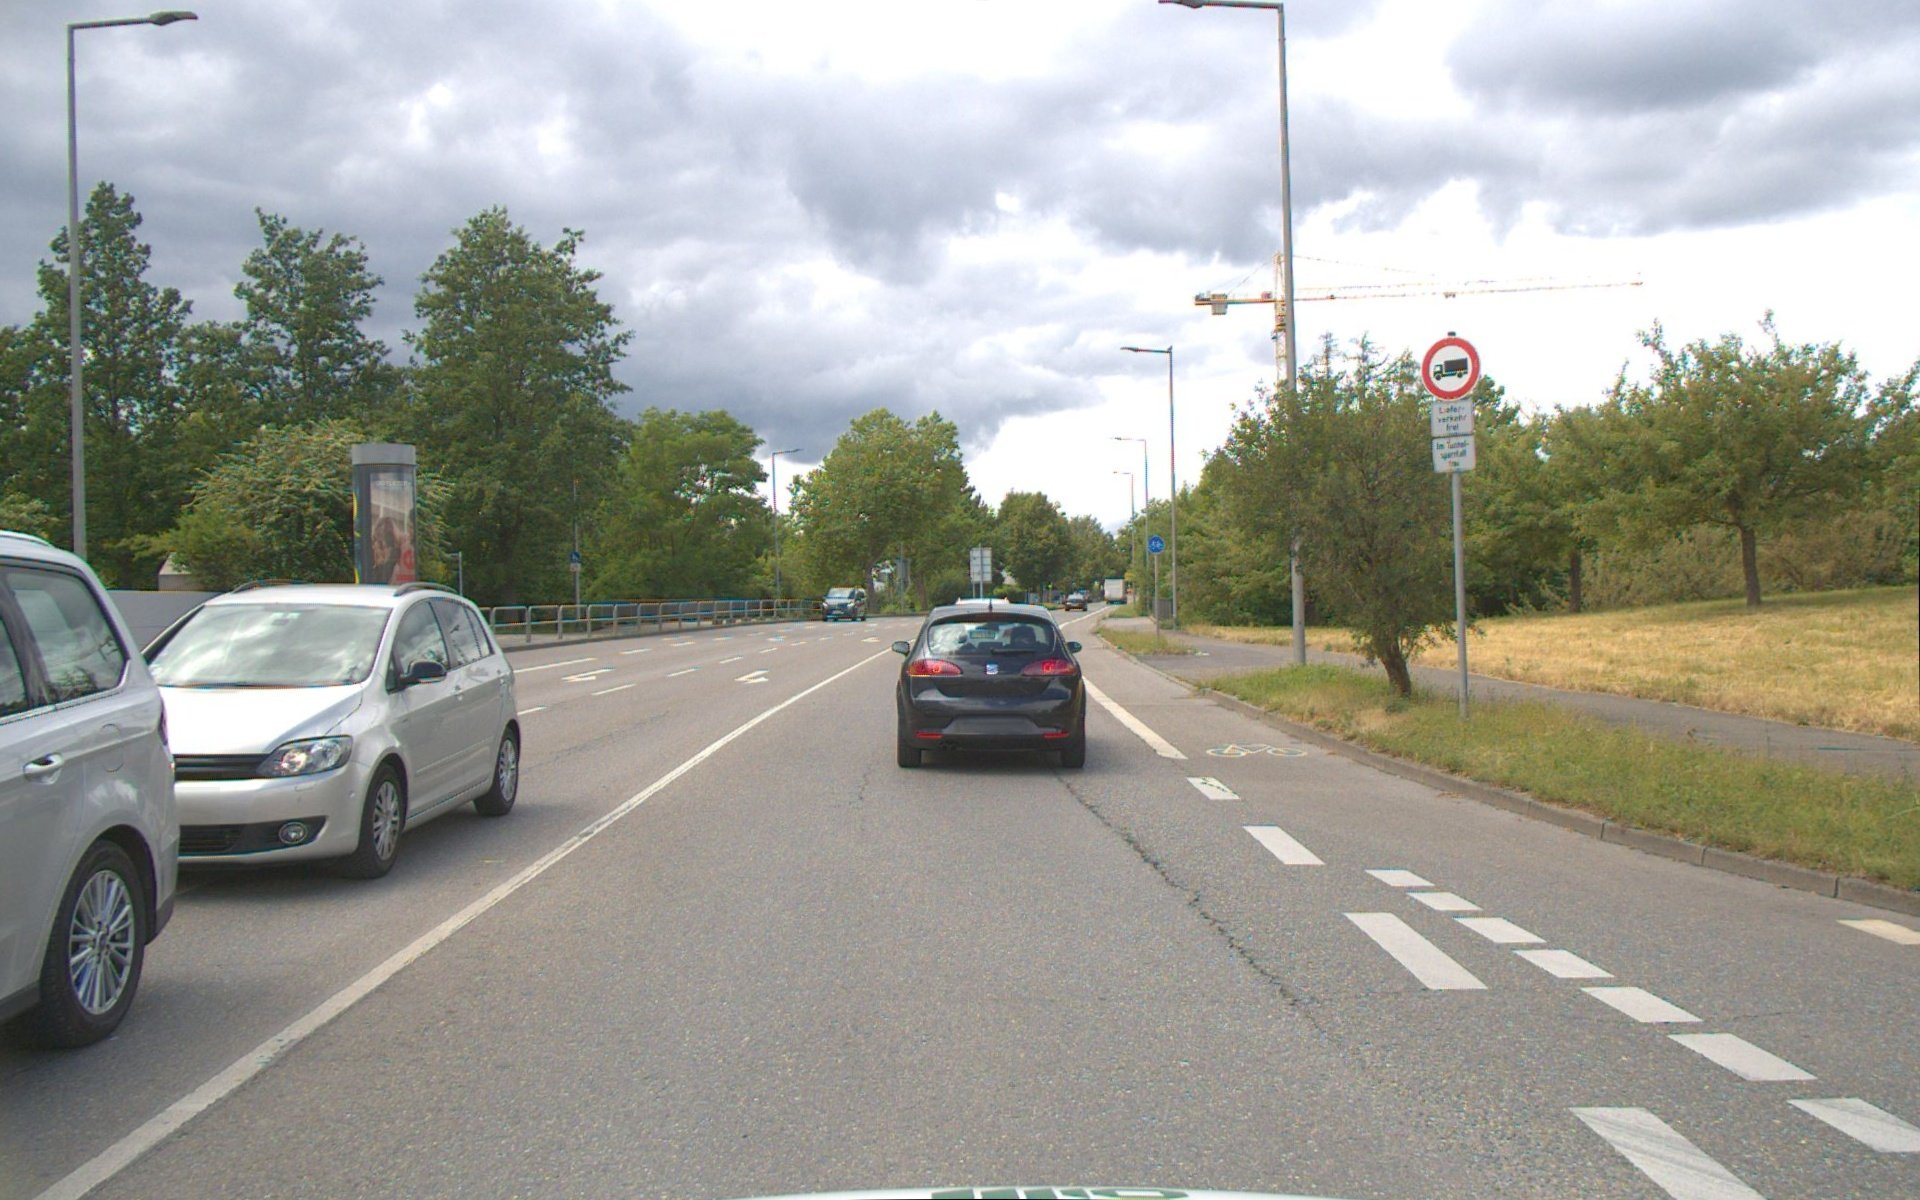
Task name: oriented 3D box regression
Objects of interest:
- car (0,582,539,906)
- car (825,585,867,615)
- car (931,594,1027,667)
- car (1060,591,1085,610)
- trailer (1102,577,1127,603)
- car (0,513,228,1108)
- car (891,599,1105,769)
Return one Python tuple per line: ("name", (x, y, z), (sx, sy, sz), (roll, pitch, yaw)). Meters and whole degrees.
("car", (-3.857, 0.682, 10.007), (1.627, 1.545, 4.083), (1, 0, -1))
("car", (-6.328, 0.007, 92.236), (1.678, 1.609, 3.745), (1, -1, 7))
("car", (0.367, 0.652, 36.247), (1.798, 1.493, 3.748), (1, -1, -4))
("car", (9.645, 0.061, 141.437), (1.951, 1.593, 4.474), (0, 0, 5))
("trailer", (19.383, -1.246, 207.266), (2.438, 3.127, 5.591), (1, -1, 11))
("car", (-3.613, 0.601, 4.046), (1.784, 1.716, 4.642), (1, 0, -3))
("car", (0.254, 0.718, 15.811), (1.678, 1.442, 3.455), (0, 0, -5))
